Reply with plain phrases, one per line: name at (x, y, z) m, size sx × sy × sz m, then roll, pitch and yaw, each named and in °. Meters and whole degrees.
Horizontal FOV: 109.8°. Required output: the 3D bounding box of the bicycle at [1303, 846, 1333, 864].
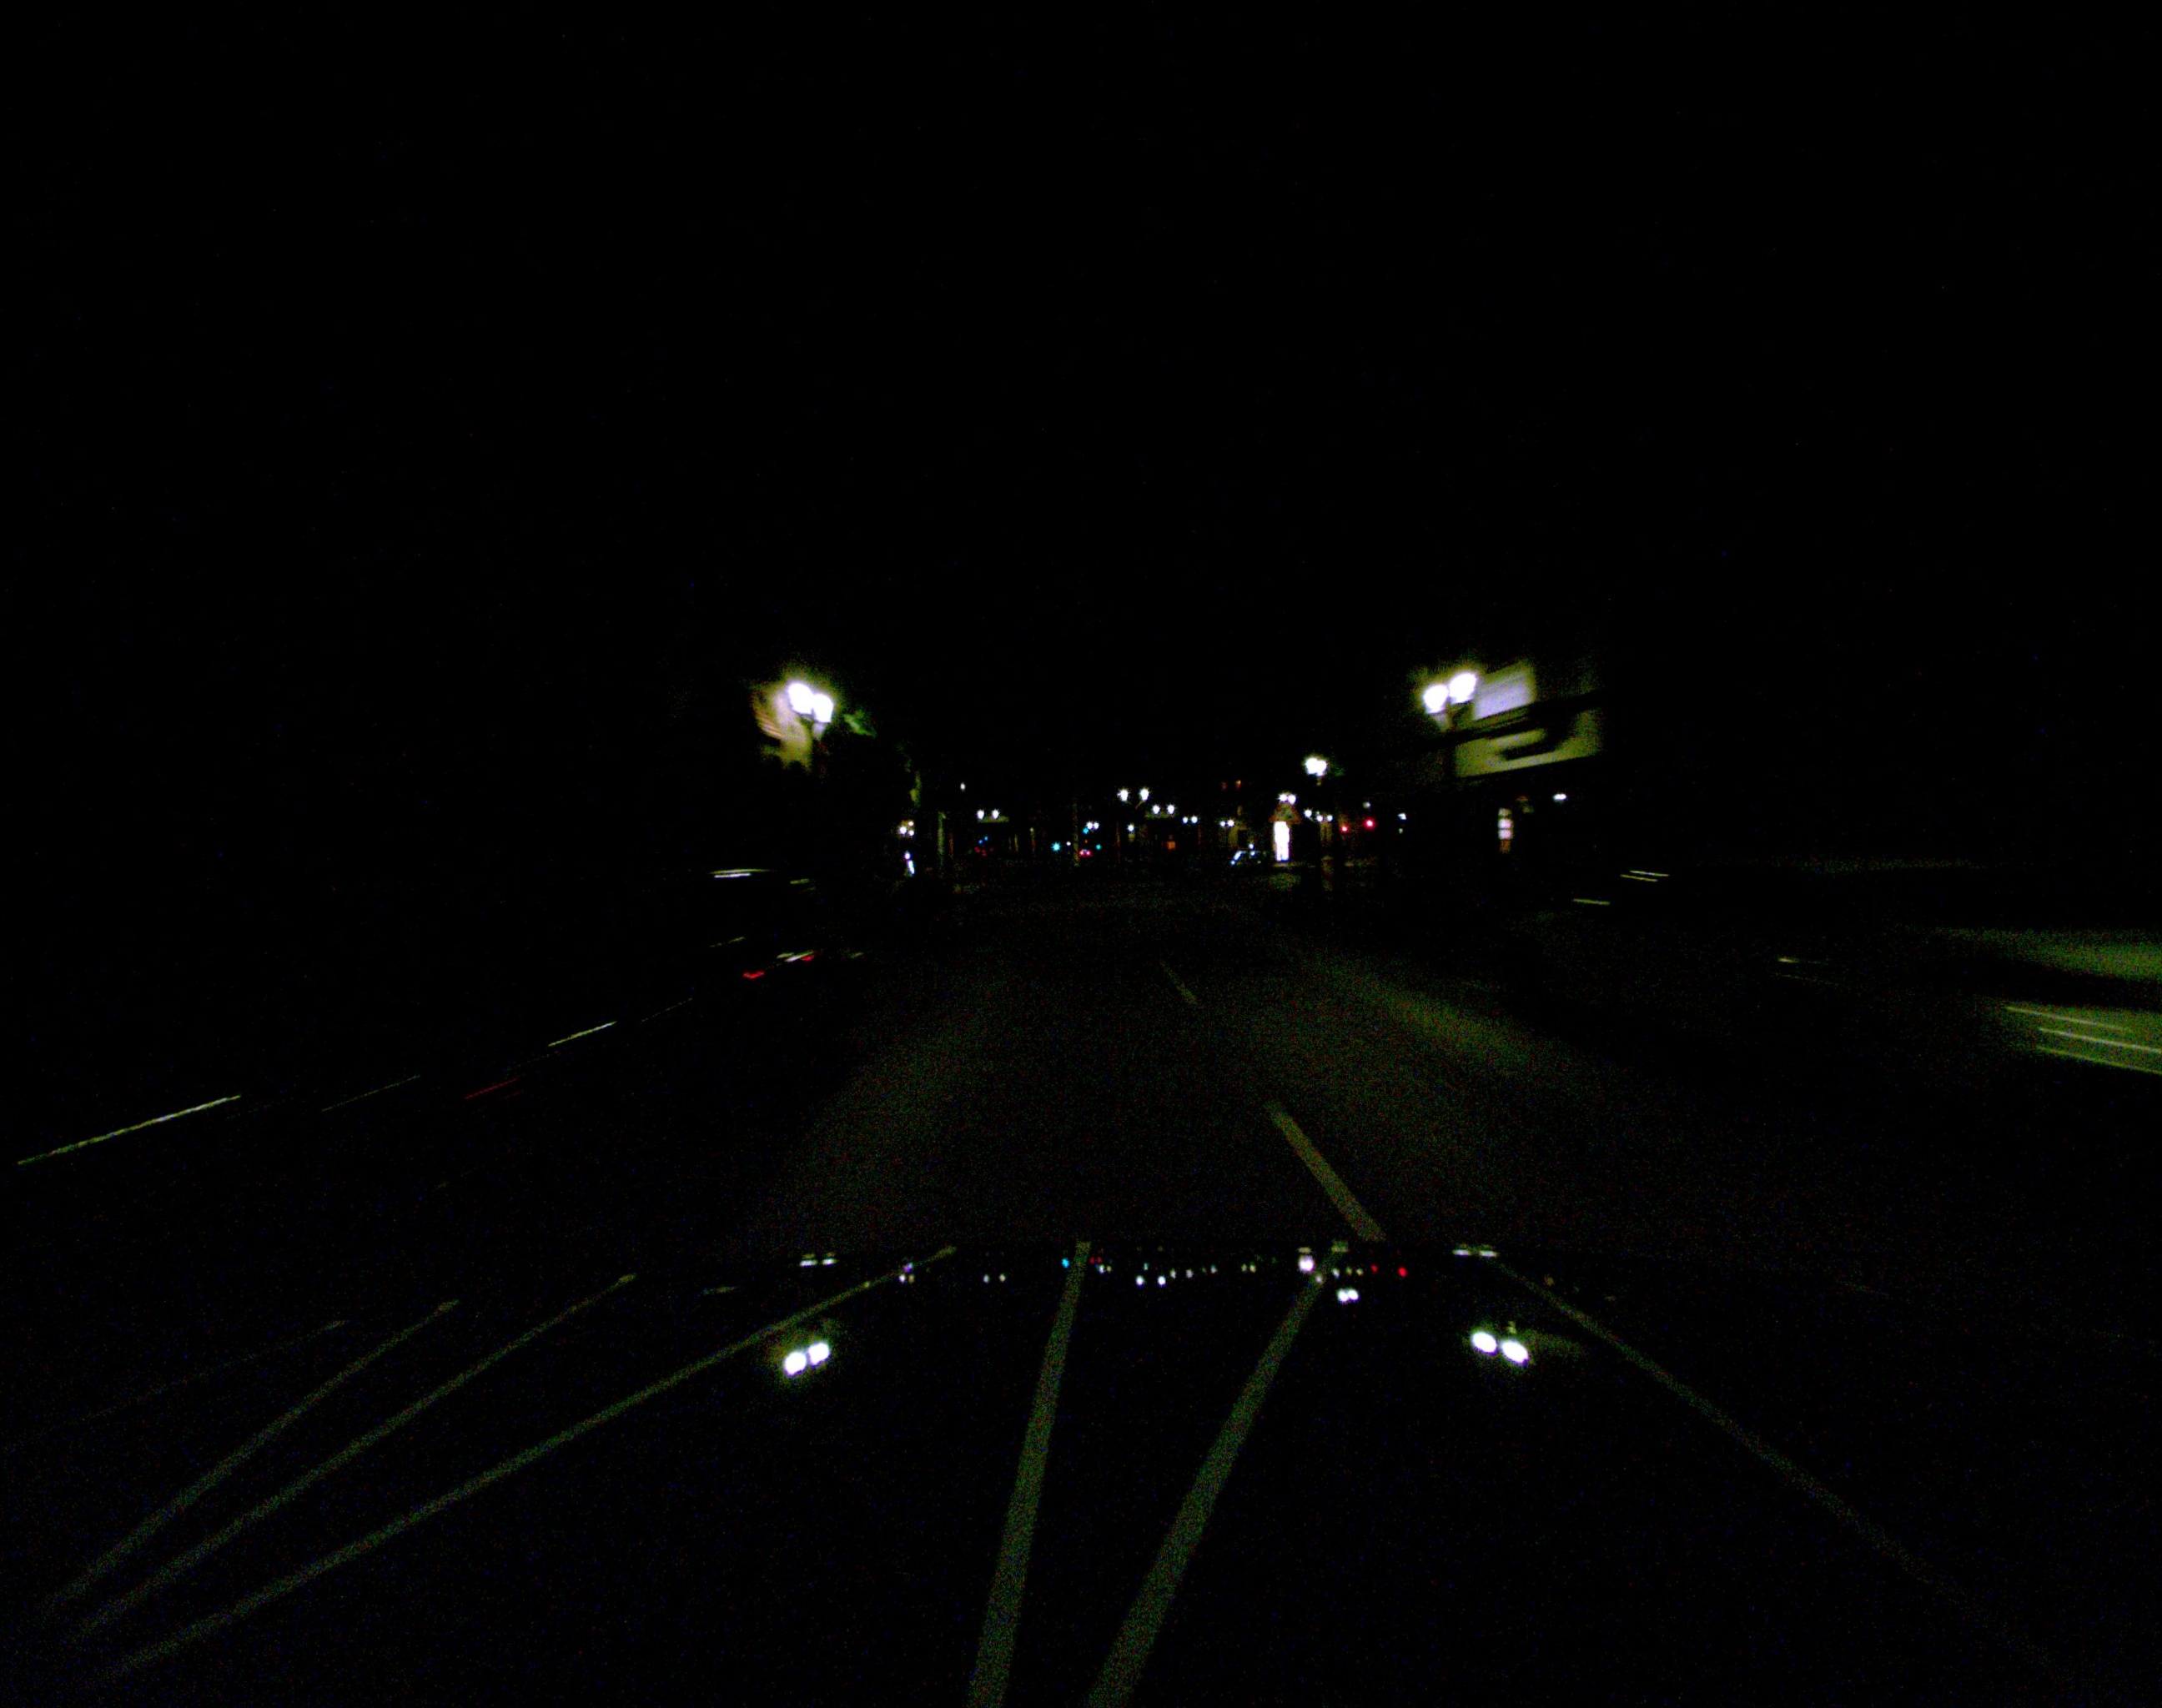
bicycle at (15.680, 0.093, 50.279) m, size 1.789 × 1.128 × 0.630 m, roll -1°, pitch 2°, yaw 42°

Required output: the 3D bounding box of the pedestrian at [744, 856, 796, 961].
pedestrian at (-5.217, 0.889, 12.771) m, size 0.508 × 1.699 × 0.705 m, roll -2°, pitch 1°, yaw 1°

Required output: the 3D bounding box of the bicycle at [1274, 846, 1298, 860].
bicycle at (17.696, -0.090, 65.560) m, size 1.803 × 1.121 × 0.650 m, roll -2°, pitch 1°, yaw -7°

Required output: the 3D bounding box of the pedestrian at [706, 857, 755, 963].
pedestrian at (-5.785, 0.909, 12.558) m, size 0.478 × 1.699 × 0.571 m, roll -2°, pitch 1°, yaw 1°

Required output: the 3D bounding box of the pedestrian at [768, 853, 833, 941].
pedestrian at (-5.501, 0.827, 14.961) m, size 0.809 × 1.622 × 0.966 m, roll -3°, pitch 1°, yaw 1°

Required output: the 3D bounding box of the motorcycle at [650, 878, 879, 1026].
motorcycle at (-3.264, 0.980, 8.062) m, size 2.059 × 1.398 × 0.923 m, roll -1°, pitch 1°, yaw -9°

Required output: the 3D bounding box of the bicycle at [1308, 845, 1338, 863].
bicycle at (16.614, 0.012, 52.143) m, size 1.770 × 1.134 × 0.688 m, roll -1°, pitch 2°, yaw 43°

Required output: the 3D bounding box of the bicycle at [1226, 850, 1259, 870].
bicycle at (9.585, 0.364, 45.111) m, size 1.783 × 1.144 × 0.761 m, roll -1°, pitch 1°, yaw 42°

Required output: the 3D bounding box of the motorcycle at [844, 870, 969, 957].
motorcycle at (-3.045, 0.997, 13.345) m, size 1.948 × 1.345 × 0.761 m, roll -2°, pitch 1°, yaw -35°

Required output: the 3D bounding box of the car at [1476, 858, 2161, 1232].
car at (5.156, 0.842, 5.717) m, size 1.843 × 1.441 × 4.880 m, roll -3°, pitch 1°, yaw 1°

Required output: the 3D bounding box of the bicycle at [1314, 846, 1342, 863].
bicycle at (16.481, 0.048, 50.743) m, size 1.655 × 1.128 × 0.644 m, roll -1°, pitch 2°, yaw 43°

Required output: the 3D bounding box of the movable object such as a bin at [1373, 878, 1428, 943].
movable object such as a bin at (5.622, 0.981, 13.366) m, size 0.690 × 1.044 × 0.624 m, roll -5°, pitch 3°, yaw -40°

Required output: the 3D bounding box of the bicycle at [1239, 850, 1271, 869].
bicycle at (10.600, 0.325, 46.279) m, size 1.772 × 1.144 × 0.583 m, roll -1°, pitch 2°, yaw 42°

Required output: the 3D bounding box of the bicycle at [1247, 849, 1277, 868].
bicycle at (11.131, 0.275, 46.737) m, size 0.583 × 1.144 × 1.773 m, roll -3°, pitch 1°, yaw -42°

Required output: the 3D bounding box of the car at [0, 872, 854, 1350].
car at (-3.003, 0.978, 4.962) m, size 1.737 × 1.492 × 4.466 m, roll -2°, pitch 1°, yaw -1°

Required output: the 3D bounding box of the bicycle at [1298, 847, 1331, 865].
bicycle at (15.091, 0.128, 49.082) m, size 1.865 × 1.128 × 0.726 m, roll -1°, pitch 2°, yaw 42°

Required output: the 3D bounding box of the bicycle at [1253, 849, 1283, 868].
bicycle at (11.602, 0.277, 47.157) m, size 0.583 × 1.144 × 1.773 m, roll -3°, pitch 1°, yaw -42°

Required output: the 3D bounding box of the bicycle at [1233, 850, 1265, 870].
bicycle at (10.122, 0.344, 45.711) m, size 1.772 × 1.144 × 0.615 m, roll -1°, pitch 2°, yaw 42°
